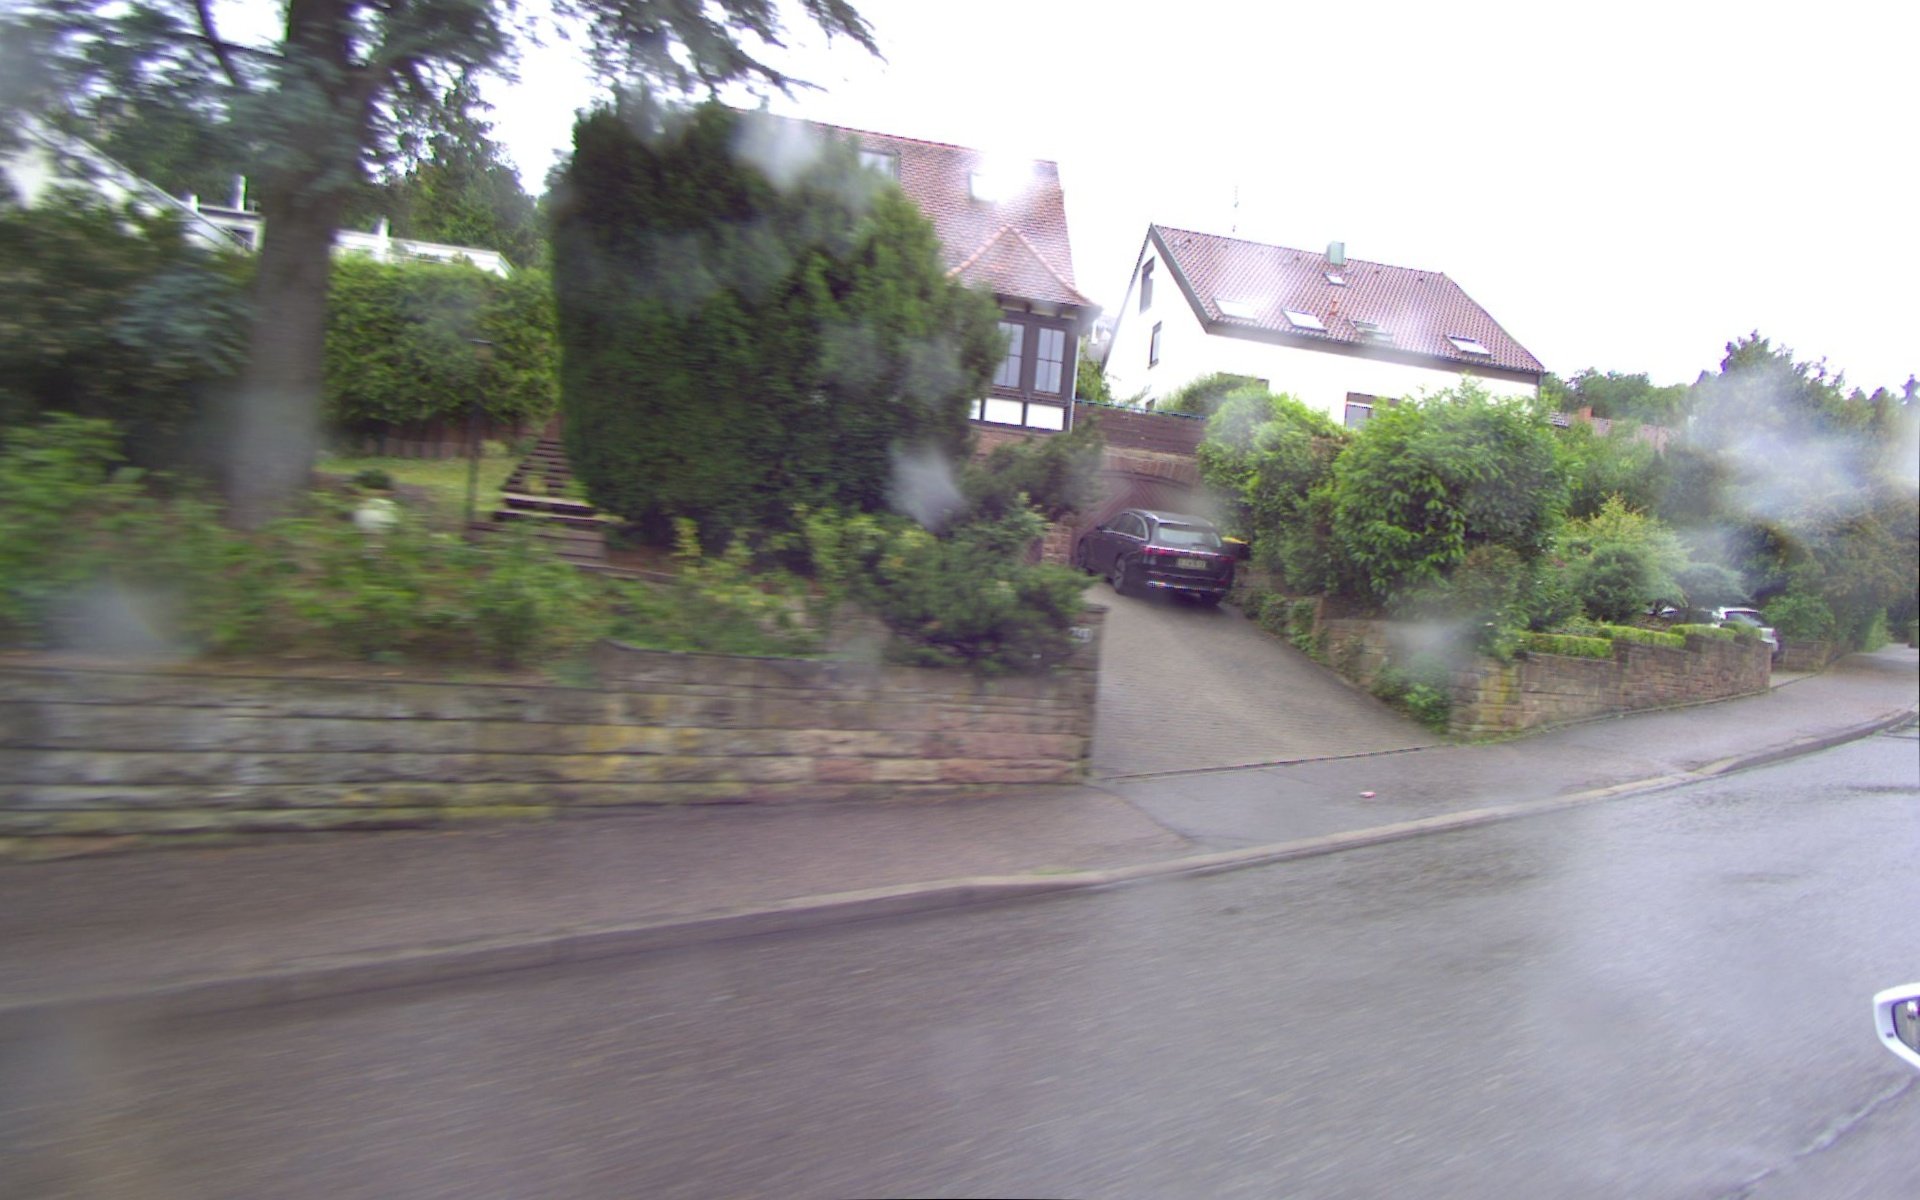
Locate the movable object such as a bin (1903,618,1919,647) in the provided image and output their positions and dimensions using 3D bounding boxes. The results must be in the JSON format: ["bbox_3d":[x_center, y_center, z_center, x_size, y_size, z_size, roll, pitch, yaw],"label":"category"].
[{"bbox_3d":[43.860,1.492,46.131,0.733,1.270,0.753,3,2,43],"label":"movable object such as a bin"}]

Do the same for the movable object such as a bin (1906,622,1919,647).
[{"bbox_3d":[43.308,1.568,45.425,0.733,1.108,0.753,3,2,43],"label":"movable object such as a bin"}]

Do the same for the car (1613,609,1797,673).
[{"bbox_3d":[20.301,1.121,27.590,1.830,1.605,3.940,2,-2,-9],"label":"car"}]

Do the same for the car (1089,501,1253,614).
[{"bbox_3d":[3.677,-0.865,18.232,1.699,1.545,3.790,2,9,-7],"label":"car"}]
